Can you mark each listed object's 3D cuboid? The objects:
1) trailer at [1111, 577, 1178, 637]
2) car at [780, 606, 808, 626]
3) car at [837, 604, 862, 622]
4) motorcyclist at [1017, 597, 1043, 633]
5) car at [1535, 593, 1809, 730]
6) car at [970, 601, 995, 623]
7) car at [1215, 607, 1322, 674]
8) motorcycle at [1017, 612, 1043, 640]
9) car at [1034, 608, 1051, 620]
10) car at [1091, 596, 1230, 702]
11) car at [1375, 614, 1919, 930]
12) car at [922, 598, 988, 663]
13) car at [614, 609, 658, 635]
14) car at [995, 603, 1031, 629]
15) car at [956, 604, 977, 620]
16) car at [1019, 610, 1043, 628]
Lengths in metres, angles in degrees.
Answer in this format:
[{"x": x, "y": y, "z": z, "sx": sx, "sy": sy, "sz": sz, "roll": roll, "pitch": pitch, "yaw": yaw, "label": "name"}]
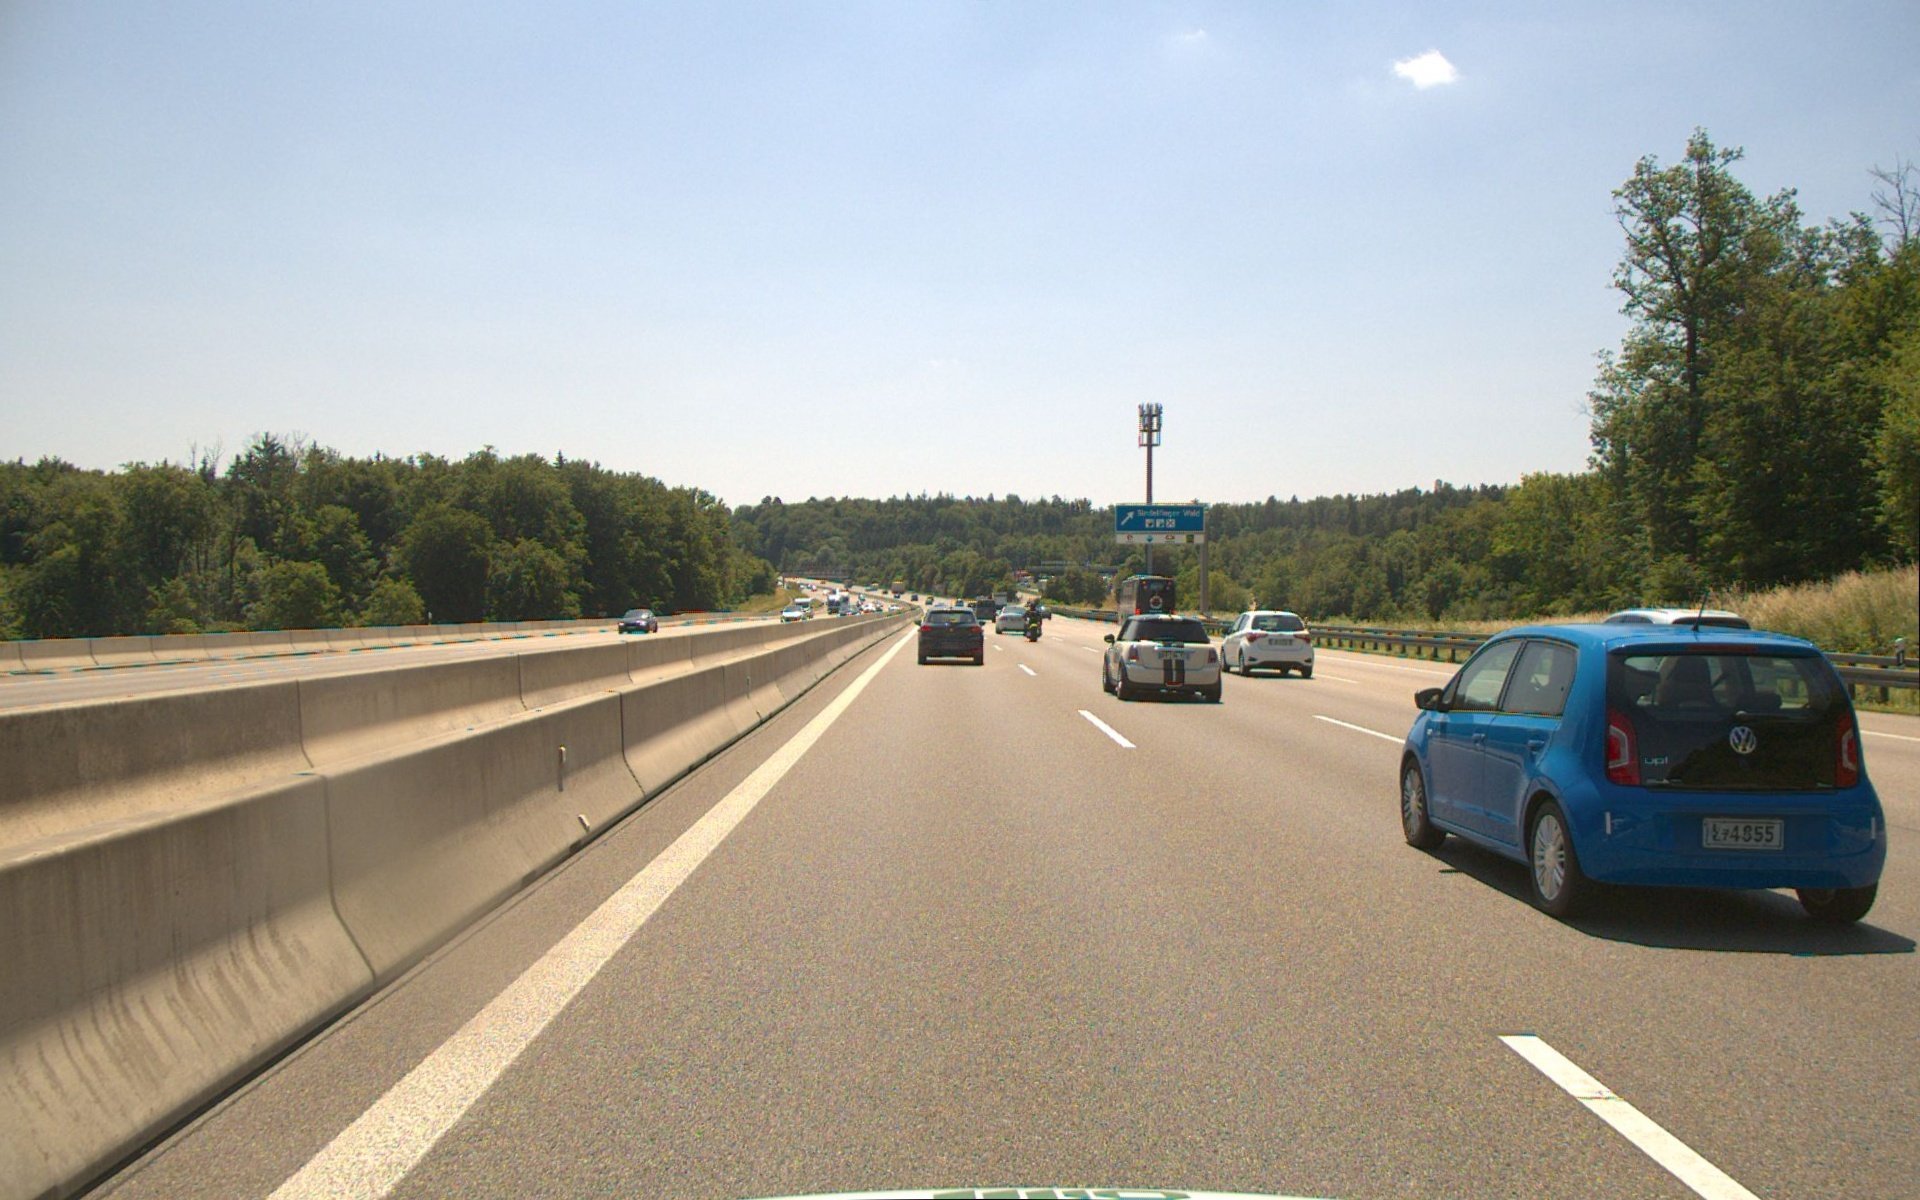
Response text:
[{"x": 12.314, "y": 0.518, "z": 111.651, "sx": 2.799, "sy": 3.752, "sz": 13.539, "roll": 0, "pitch": -1, "yaw": -1, "label": "trailer"}, {"x": -12.774, "y": 1.217, "z": 127.505, "sx": 1.802, "sy": 1.466, "sz": 3.998, "roll": 0, "pitch": 0, "yaw": -2, "label": "car"}, {"x": -8.924, "y": 1.057, "z": 133.941, "sx": 1.801, "sy": 1.466, "sz": 4.843, "roll": 0, "pitch": 0, "yaw": -2, "label": "car"}, {"x": 2.944, "y": 0.618, "z": 69.728, "sx": 0.943, "sy": 1.463, "sz": 1.234, "roll": -1, "pitch": 0, "yaw": -3, "label": "motorcyclist"}, {"x": 10.506, "y": 0.820, "z": 24.898, "sx": 1.764, "sy": 1.761, "sz": 5.238, "roll": 2, "pitch": 1, "yaw": -1, "label": "car"}, {"x": 1.990, "y": 1.035, "z": 146.485, "sx": 2.054, "sy": 1.884, "sz": 4.080, "roll": 0, "pitch": 0, "yaw": -1, "label": "car"}, {"x": 7.260, "y": 0.927, "z": 39.328, "sx": 1.632, "sy": 1.458, "sz": 4.374, "roll": 0, "pitch": 0, "yaw": -1, "label": "car"}, {"x": 2.933, "y": 1.092, "z": 69.811, "sx": 0.957, "sy": 1.149, "sz": 2.270, "roll": 0, "pitch": 0, "yaw": -1, "label": "motorcycle"}, {"x": 9.371, "y": 1.591, "z": 188.290, "sx": 1.576, "sy": 1.233, "sz": 3.458, "roll": 0, "pitch": 0, "yaw": -2, "label": "car"}, {"x": 3.346, "y": 0.798, "z": 28.311, "sx": 1.804, "sy": 1.579, "sz": 3.999, "roll": 3, "pitch": -1, "yaw": 0, "label": "car"}, {"x": 3.802, "y": 0.818, "z": 9.700, "sx": 1.702, "sy": 1.436, "sz": 3.999, "roll": 0, "pitch": 0, "yaw": 0, "label": "car"}, {"x": -0.137, "y": 0.753, "z": 42.699, "sx": 1.591, "sy": 1.513, "sz": 3.685, "roll": 1, "pitch": 1, "yaw": -1, "label": "car"}, {"x": -19.547, "y": 1.320, "z": 99.906, "sx": 1.802, "sy": 1.466, "sz": 4.762, "roll": -2, "pitch": 0, "yaw": -2, "label": "car"}, {"x": 2.805, "y": 0.838, "z": 87.593, "sx": 1.746, "sy": 1.287, "sz": 3.459, "roll": 0, "pitch": 0, "yaw": -1, "label": "car"}, {"x": 0.683, "y": 1.313, "z": 185.066, "sx": 1.955, "sy": 1.713, "sz": 4.419, "roll": 2, "pitch": 1, "yaw": -5, "label": "car"}, {"x": 5.865, "y": 1.587, "z": 136.962, "sx": 1.642, "sy": 1.457, "sz": 3.683, "roll": 0, "pitch": 0, "yaw": -2, "label": "car"}]
